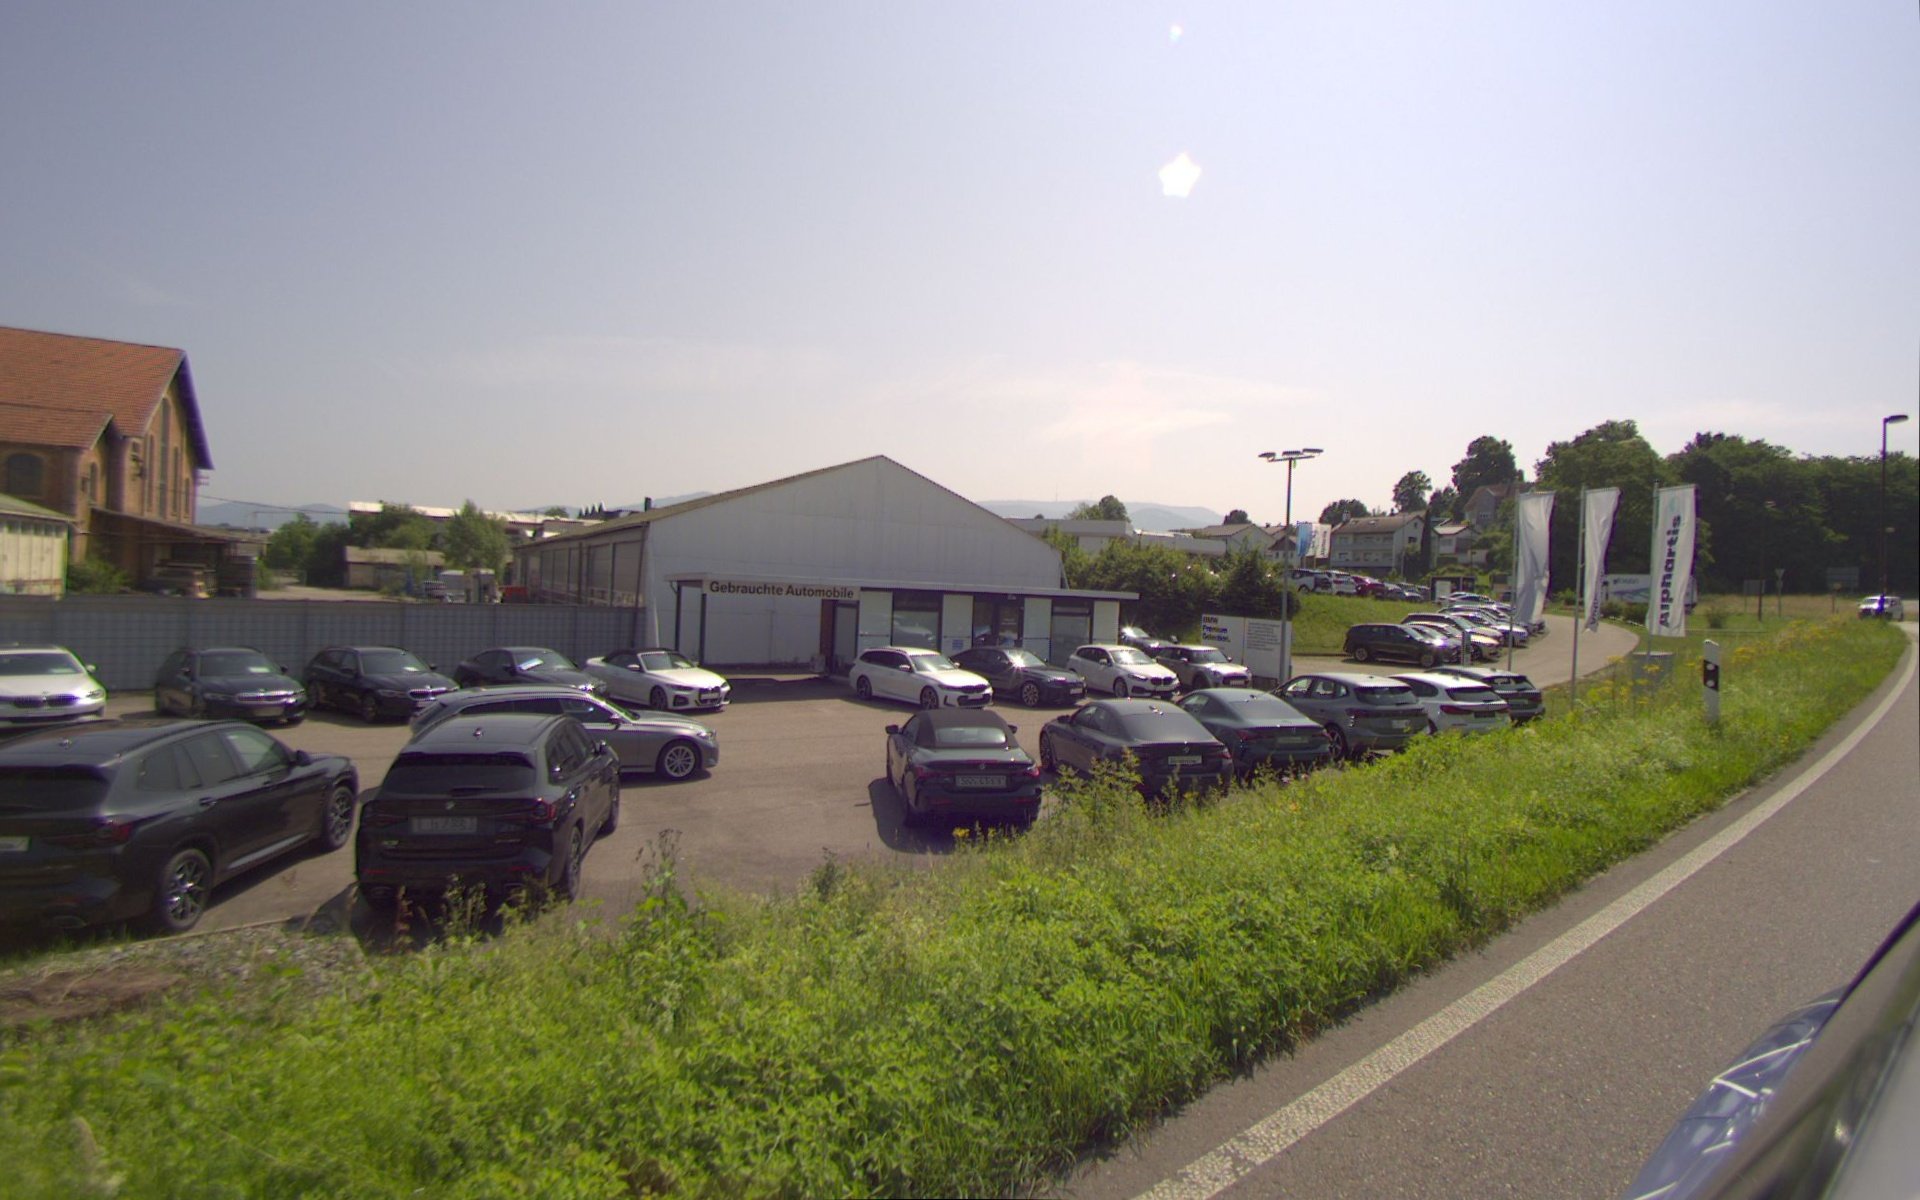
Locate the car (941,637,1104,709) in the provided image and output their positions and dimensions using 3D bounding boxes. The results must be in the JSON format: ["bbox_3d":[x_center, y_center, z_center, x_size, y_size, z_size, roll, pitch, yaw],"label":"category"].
[{"bbox_3d":[1.668,1.955,28.326,1.900,1.542,4.429,0,2,-44],"label":"car"}]

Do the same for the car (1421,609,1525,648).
[{"bbox_3d":[25.392,1.381,50.183,4.245,1.482,1.847,4,5,41],"label":"car"}]

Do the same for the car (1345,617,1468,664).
[{"bbox_3d":[18.932,1.659,42.981,4.469,1.660,2.120,1,3,37],"label":"car"}]

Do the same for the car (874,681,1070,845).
[{"bbox_3d":[-0.020,2.187,14.851,1.817,1.542,4.653,0,1,-13],"label":"car"}]

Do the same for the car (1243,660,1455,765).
[{"bbox_3d":[7.648,2.152,20.372,1.817,1.542,4.181,0,1,-16],"label":"car"}]

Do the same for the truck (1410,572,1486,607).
[{"bbox_3d":[40.458,-0.939,84.112,1.909,2.698,5.638,2,1,-25],"label":"truck"}]

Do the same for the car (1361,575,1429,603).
[{"bbox_3d":[31.215,-0.788,72.725,1.911,1.771,4.015,2,3,-31],"label":"car"}]

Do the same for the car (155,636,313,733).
[{"bbox_3d":[-14.935,1.638,20.747,3.993,1.542,1.733,2,2,40],"label":"car"}]

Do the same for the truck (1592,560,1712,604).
[{"bbox_3d":[63.385,-1.675,92.855,8.979,3.877,2.859,1,1,39],"label":"truck"}]

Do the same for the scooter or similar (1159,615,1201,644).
[{"bbox_3d":[10.621,1.430,48.924,1.975,1.330,0.613,1,1,45],"label":"scooter or similar"}]

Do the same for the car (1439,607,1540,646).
[{"bbox_3d":[27.053,1.327,51.738,4.404,1.482,1.902,4,5,33],"label":"car"}]

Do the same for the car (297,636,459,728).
[{"bbox_3d":[-12.914,1.722,22.351,4.308,1.542,1.771,2,2,40],"label":"car"}]

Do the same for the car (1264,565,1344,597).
[{"bbox_3d":[18.577,-1.045,54.777,1.733,1.551,3.892,1,2,-31],"label":"car"}]

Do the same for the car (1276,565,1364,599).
[{"bbox_3d":[20.131,-1.048,56.719,1.802,1.768,4.473,1,2,-31],"label":"car"}]

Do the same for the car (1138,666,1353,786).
[{"bbox_3d":[4.959,2.134,18.255,1.817,1.542,4.181,0,1,-15],"label":"car"}]

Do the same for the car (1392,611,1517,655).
[{"bbox_3d":[22.576,1.455,46.279,4.763,1.526,1.972,4,5,41],"label":"car"}]

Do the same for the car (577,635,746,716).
[{"bbox_3d":[-7.577,1.814,25.491,4.599,1.542,1.904,2,2,40],"label":"car"}]

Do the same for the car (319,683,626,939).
[{"bbox_3d":[-4.926,2.003,10.996,1.818,1.722,4.652,2,0,-11],"label":"car"}]

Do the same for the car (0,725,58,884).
[{"bbox_3d":[-10.061,2.038,8.417,1.740,1.460,4.156,2,0,-7],"label":"car"}]

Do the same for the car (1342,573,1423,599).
[{"bbox_3d":[27.051,-0.906,64.935,1.911,1.518,4.473,2,2,-31],"label":"car"}]

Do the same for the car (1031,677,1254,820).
[{"bbox_3d":[2.680,2.180,15.955,1.817,1.542,4.181,0,1,-15],"label":"car"}]

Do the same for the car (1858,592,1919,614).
[{"bbox_3d":[71.417,0.238,77.276,5.893,1.673,2.201,0,0,-26],"label":"car"}]

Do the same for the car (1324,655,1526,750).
[{"bbox_3d":[9.955,2.135,22.061,1.714,1.542,4.181,0,1,-15],"label":"car"}]

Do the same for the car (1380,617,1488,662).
[{"bbox_3d":[20.862,1.688,44.562,3.977,1.570,1.975,3,4,36],"label":"car"}]

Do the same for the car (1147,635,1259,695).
[{"bbox_3d":[7.573,1.985,31.860,1.714,1.542,3.812,0,1,-17],"label":"car"}]

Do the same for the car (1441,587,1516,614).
[{"bbox_3d":[37.827,-0.008,73.969,4.609,1.589,1.757,5,2,20],"label":"car"}]

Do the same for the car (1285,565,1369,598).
[{"bbox_3d":[21.564,-1.112,59.672,1.802,1.768,4.473,1,2,-31],"label":"car"}]

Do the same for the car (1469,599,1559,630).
[{"bbox_3d":[32.805,0.836,60.106,4.529,1.438,1.768,4,5,27],"label":"car"}]

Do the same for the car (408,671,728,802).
[{"bbox_3d":[-6.195,2.034,16.085,4.442,1.475,2.144,0,1,-31],"label":"car"}]

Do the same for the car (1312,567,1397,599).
[{"bbox_3d":[23.561,-1.022,60.542,1.911,1.768,4.473,1,2,-31],"label":"car"}]

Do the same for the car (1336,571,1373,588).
[{"bbox_3d":[38.344,-1.987,98.434,1.874,1.531,4.375,2,1,1],"label":"car"}]

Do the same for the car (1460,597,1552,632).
[{"bbox_3d":[31.320,0.791,58.101,4.539,1.584,1.902,4,5,32],"label":"car"}]

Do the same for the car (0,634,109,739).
[{"bbox_3d":[-18.093,1.570,19.501,4.641,1.542,1.884,2,2,40],"label":"car"}]

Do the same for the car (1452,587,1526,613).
[{"bbox_3d":[37.335,-0.012,71.545,4.532,1.589,1.753,3,3,26],"label":"car"}]

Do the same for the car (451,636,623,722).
[{"bbox_3d":[-10.065,1.771,23.929,4.599,1.542,1.904,2,2,40],"label":"car"}]

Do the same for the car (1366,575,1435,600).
[{"bbox_3d":[30.201,-0.870,69.498,1.909,1.545,4.017,2,1,-25],"label":"car"}]

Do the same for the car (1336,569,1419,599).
[{"bbox_3d":[25.745,-1.018,62.561,1.911,1.655,4.473,1,2,-31],"label":"car"}]

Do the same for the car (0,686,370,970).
[{"bbox_3d":[-7.685,1.922,9.775,1.880,1.722,4.242,2,0,-7],"label":"car"}]

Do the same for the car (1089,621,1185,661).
[{"bbox_3d":[7.200,1.637,41.511,1.685,1.393,3.954,0,1,-32],"label":"car"}]

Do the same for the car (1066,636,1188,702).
[{"bbox_3d":[4.888,1.988,30.188,1.715,1.542,3.979,0,1,-24],"label":"car"}]

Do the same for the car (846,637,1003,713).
[{"bbox_3d":[-1.031,1.902,26.861,1.897,1.542,4.436,0,2,-39],"label":"car"}]

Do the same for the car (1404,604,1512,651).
[{"bbox_3d":[23.827,1.256,48.515,4.245,1.769,1.972,5,5,40],"label":"car"}]

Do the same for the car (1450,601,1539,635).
[{"bbox_3d":[29.704,0.967,56.295,4.230,1.499,1.902,4,5,32],"label":"car"}]

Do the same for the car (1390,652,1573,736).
[{"bbox_3d":[12.323,2.152,24.240,1.655,1.542,4.180,0,1,-11],"label":"car"}]
